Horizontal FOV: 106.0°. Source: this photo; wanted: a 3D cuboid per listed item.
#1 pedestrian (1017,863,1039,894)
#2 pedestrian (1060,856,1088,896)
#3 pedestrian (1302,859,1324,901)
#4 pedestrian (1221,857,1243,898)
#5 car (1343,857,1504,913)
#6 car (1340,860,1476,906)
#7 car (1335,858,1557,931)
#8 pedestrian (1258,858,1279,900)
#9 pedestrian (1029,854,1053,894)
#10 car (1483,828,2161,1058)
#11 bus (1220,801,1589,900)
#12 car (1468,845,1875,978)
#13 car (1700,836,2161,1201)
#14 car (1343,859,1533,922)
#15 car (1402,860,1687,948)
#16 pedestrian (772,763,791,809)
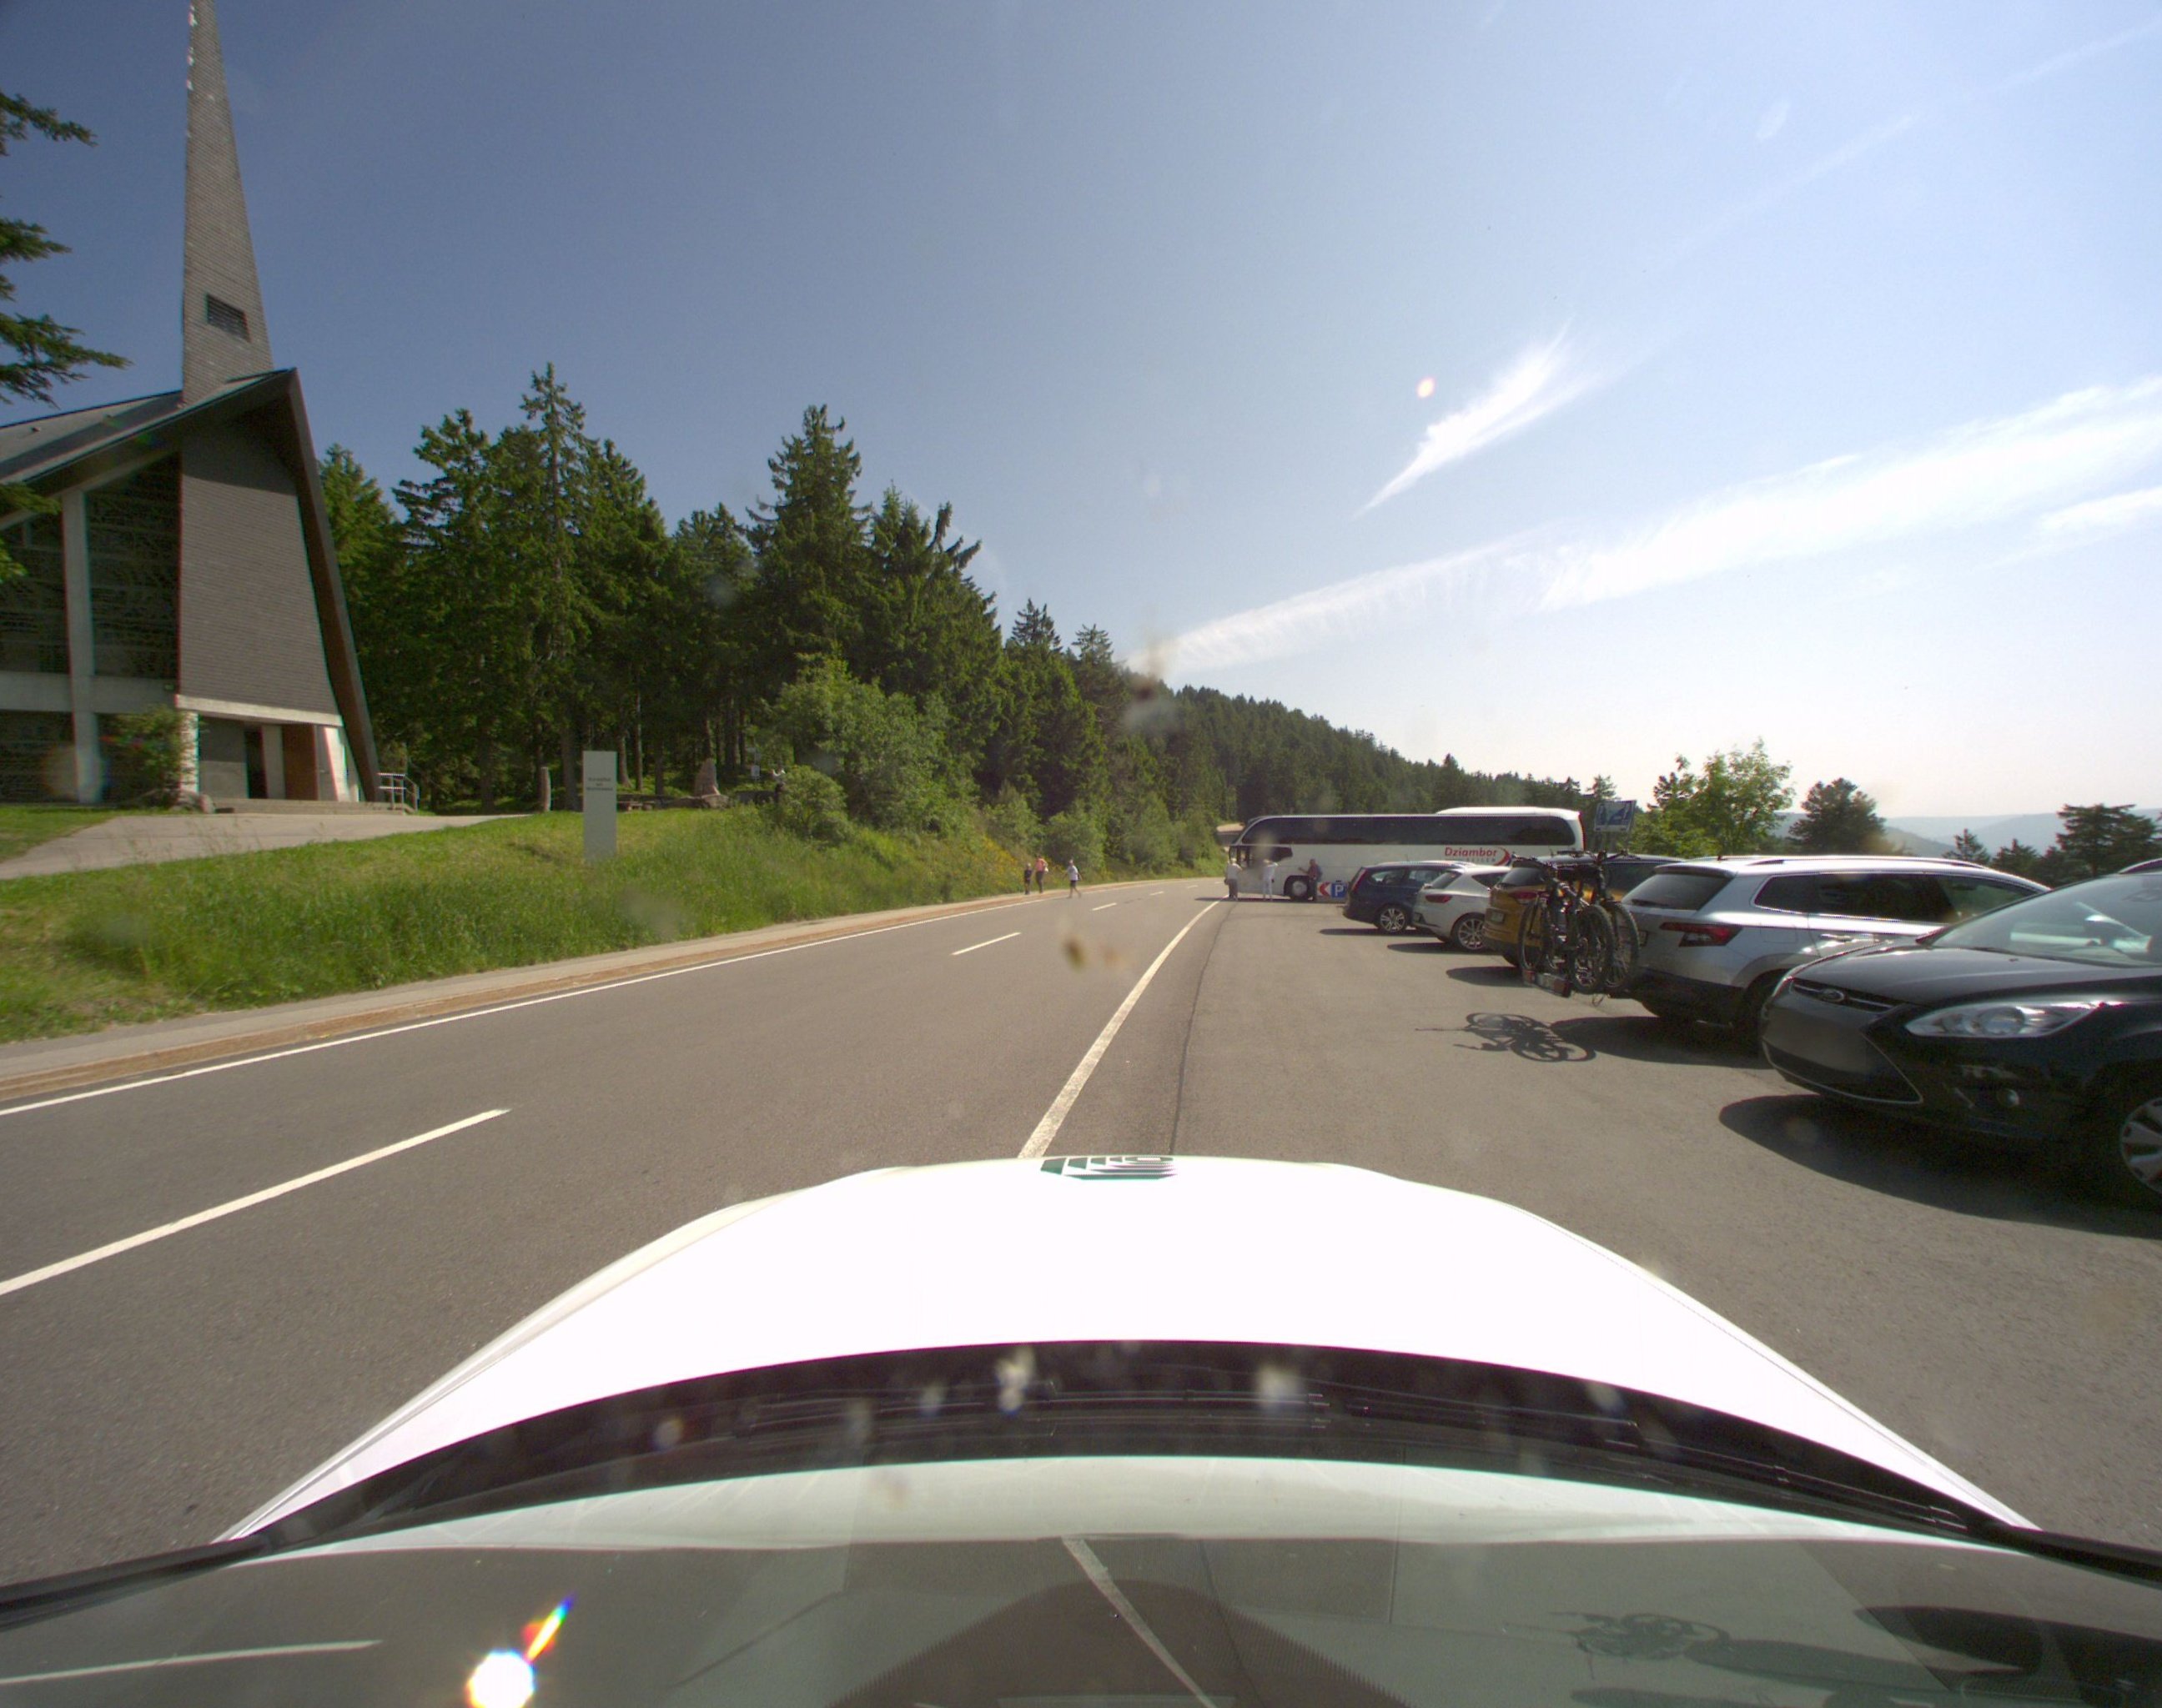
[{"bbox_3d":[-2.212,1.026,34.137,0.776,1.279,0.738,-1,0,10],"label":"pedestrian"},{"bbox_3d":[-0.301,0.900,33.117,0.858,1.585,0.811,-1,0,-26],"label":"pedestrian"},{"bbox_3d":[8.941,0.990,31.404,0.764,1.585,0.776,-1,0,16],"label":"pedestrian"},{"bbox_3d":[5.946,0.936,32.082,0.764,1.585,0.775,-1,0,15],"label":"pedestrian"},{"bbox_3d":[9.760,0.860,23.493,3.964,1.507,1.865,-1,0,8],"label":"car"},{"bbox_3d":[10.970,0.978,27.582,3.964,1.449,1.865,-1,0,8],"label":"car"},{"bbox_3d":[7.640,0.840,17.412,3.964,1.449,1.865,-1,0,8],"label":"car"},{"bbox_3d":[7.281,0.958,31.621,0.764,1.585,0.775,-1,0,15],"label":"pedestrian"},{"bbox_3d":[-1.723,0.849,35.113,0.862,1.683,0.859,-1,0,10],"label":"pedestrian"},{"bbox_3d":[6.484,0.657,7.040,5.005,1.651,2.053,-1,0,8],"label":"car"},{"bbox_3d":[12.309,-0.033,32.337,12.987,3.532,3.058,-1,0,18],"label":"bus"},{"bbox_3d":[7.399,0.699,10.580,3.964,1.554,1.664,-1,0,8],"label":"car"},{"bbox_3d":[6.071,0.681,4.199,4.219,1.554,1.842,-1,0,8],"label":"car"},{"bbox_3d":[8.722,0.873,20.220,3.964,1.449,1.865,-1,0,8],"label":"car"},{"bbox_3d":[7.818,0.829,14.073,3.964,1.398,1.624,-1,0,8],"label":"car"},{"bbox_3d":[-12.601,-2.845,34.221,0.684,1.878,0.537,-1,0,-26],"label":"pedestrian"}]
